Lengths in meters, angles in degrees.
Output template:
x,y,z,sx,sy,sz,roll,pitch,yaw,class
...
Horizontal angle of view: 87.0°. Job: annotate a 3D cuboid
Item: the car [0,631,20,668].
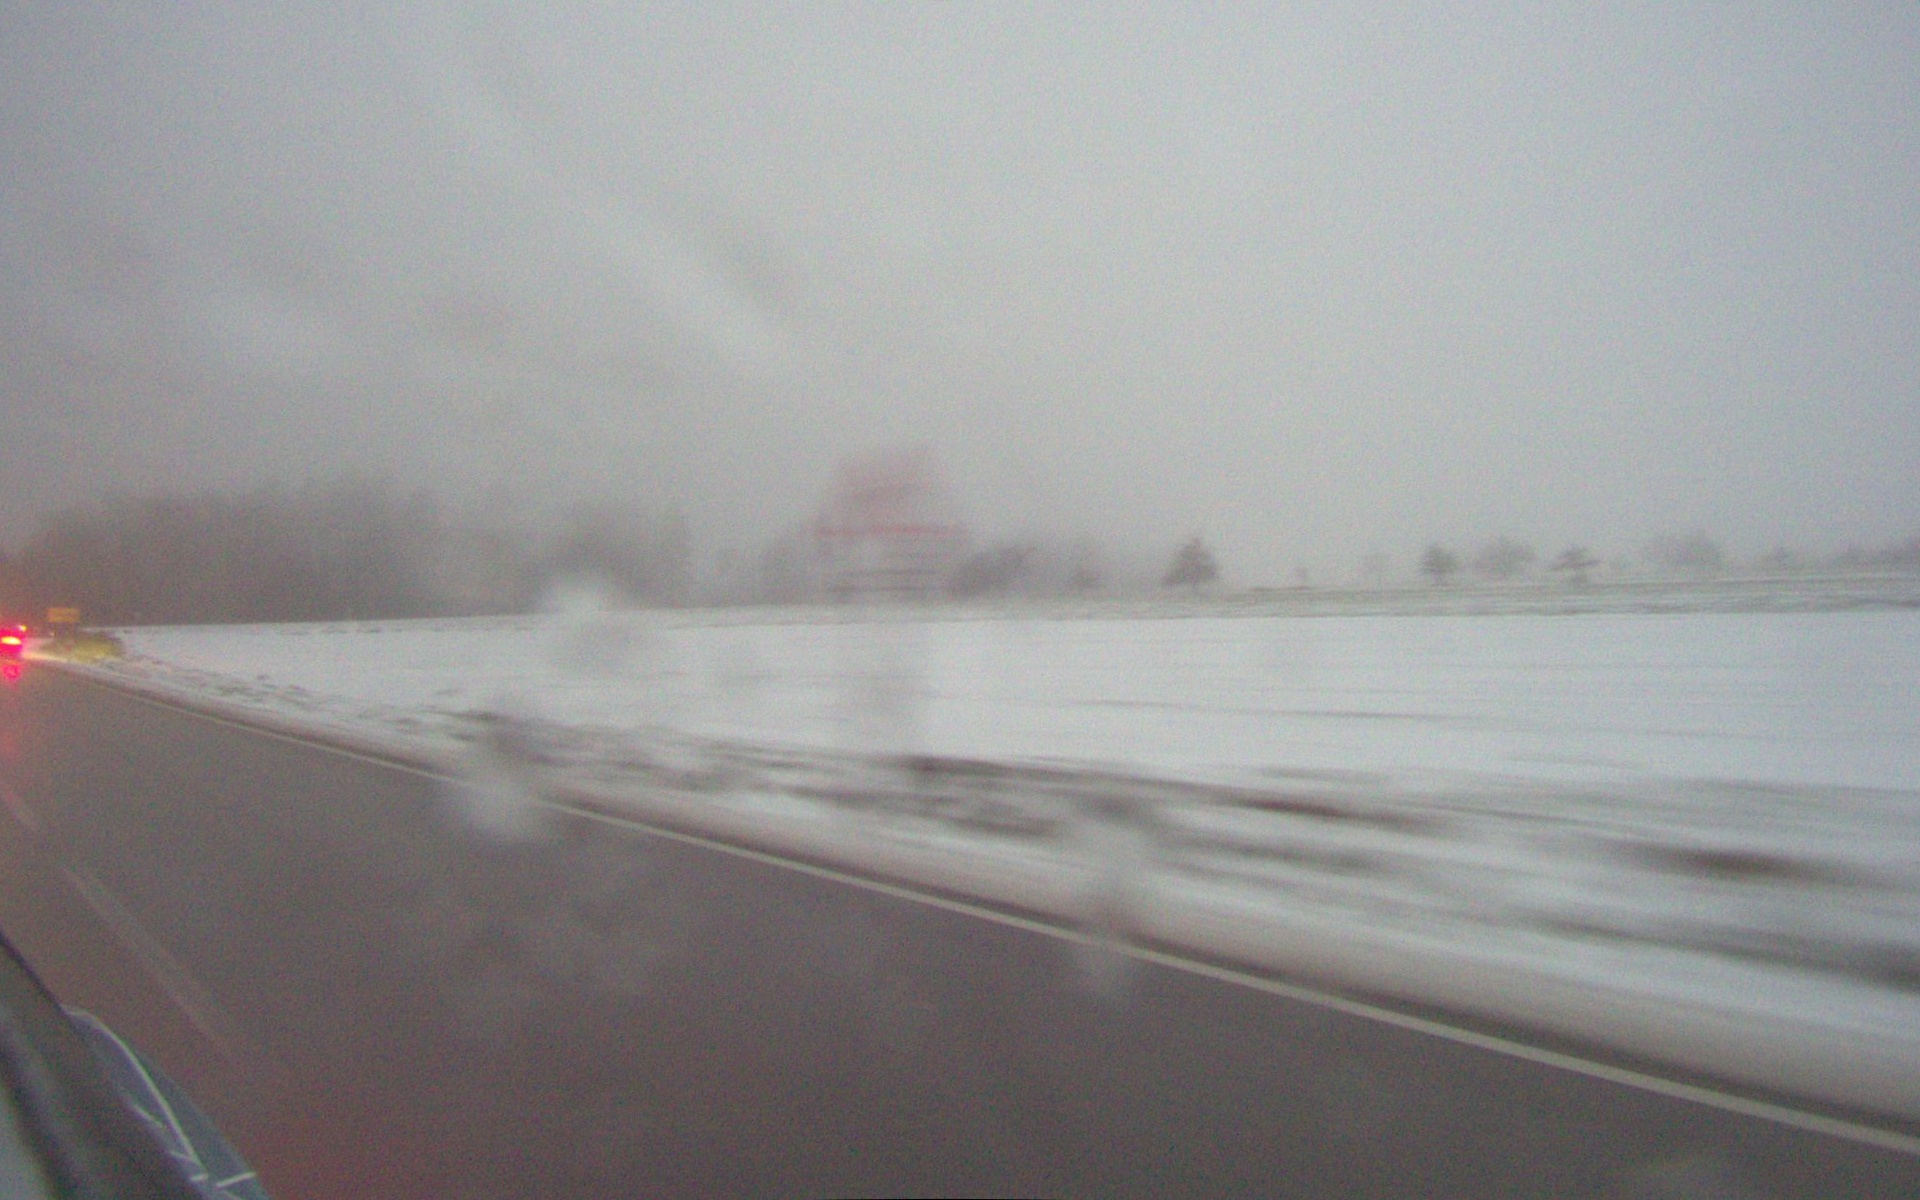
x,y,z,sx,sy,sz,roll,pitch,yaw,class
-37.713,1.884,39.055,4.221,1.356,1.709,-1,-3,42,car
